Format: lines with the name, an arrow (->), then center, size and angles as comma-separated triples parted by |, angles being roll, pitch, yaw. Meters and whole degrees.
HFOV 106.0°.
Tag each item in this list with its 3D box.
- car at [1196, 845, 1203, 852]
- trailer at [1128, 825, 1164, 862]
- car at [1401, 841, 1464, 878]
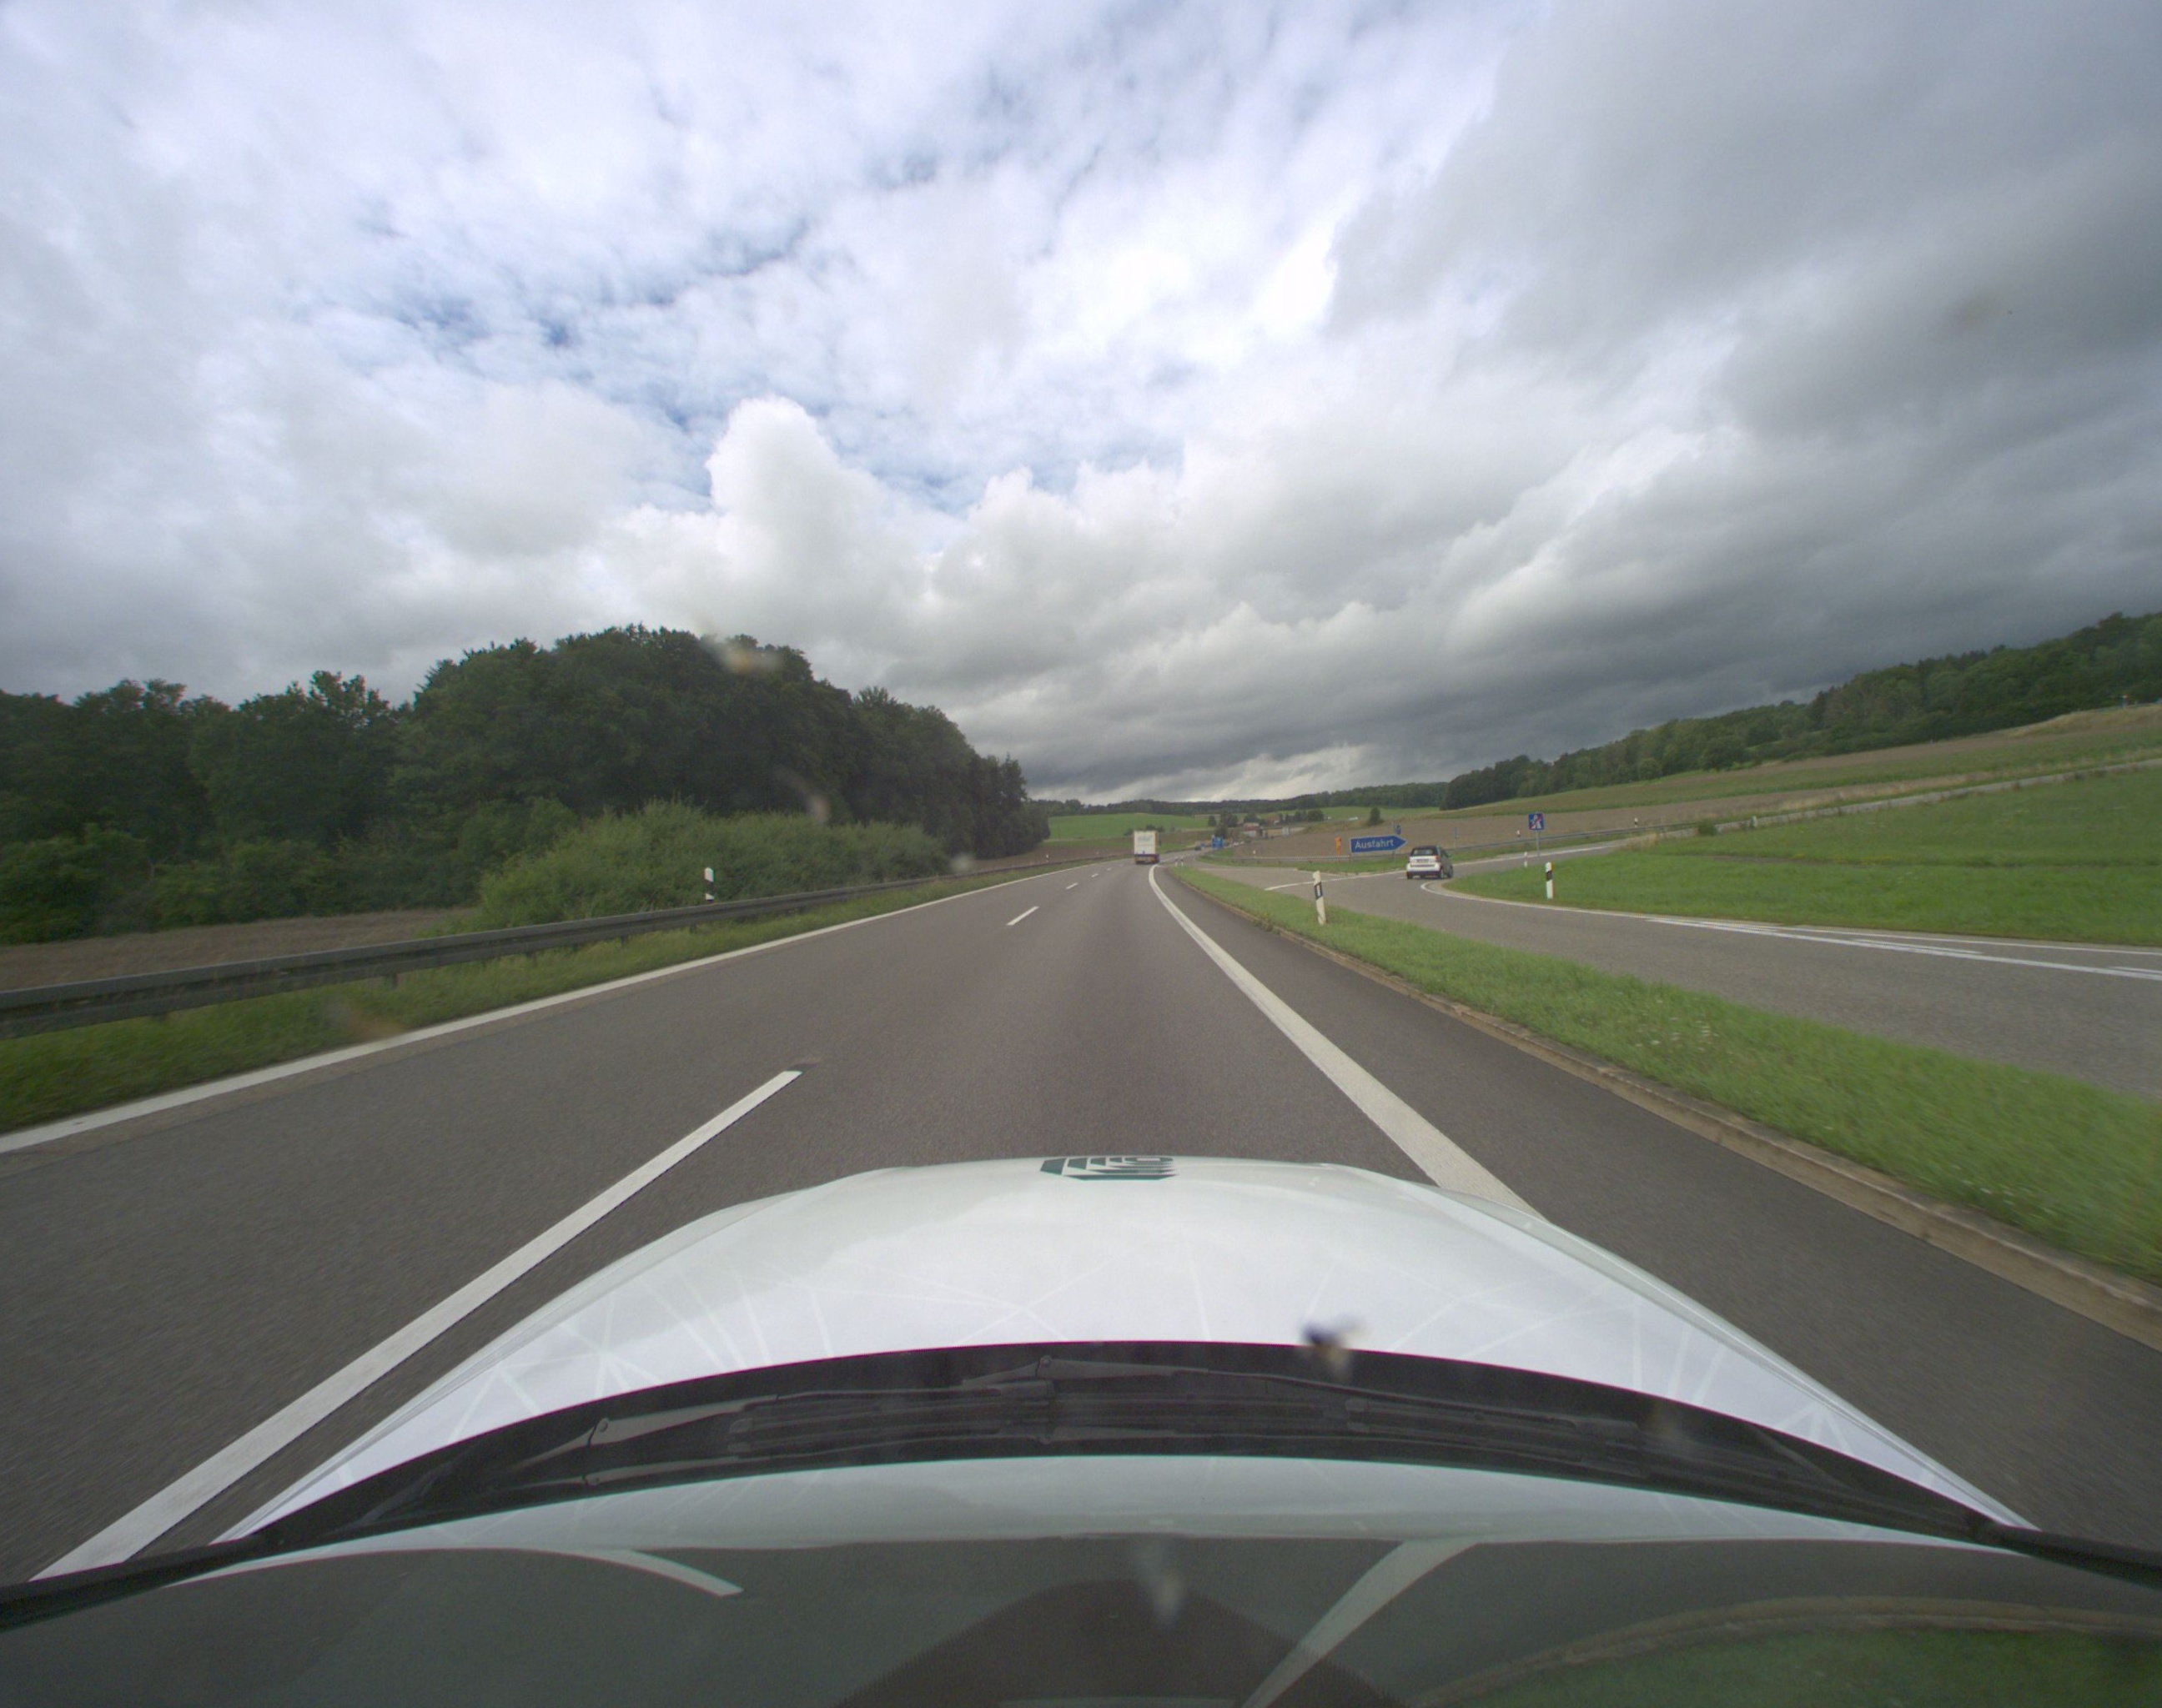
car -> 37.523, -1.763, 258.093 | 1.892, 1.795, 4.010 | -2, -2, 9
trailer -> 8.263, -1.257, 101.245 | 3.785, 4.174, 14.838 | 0, 0, 7
car -> 16.840, 0.251, 38.885 | 1.760, 1.552, 4.026 | -2, 0, 38
